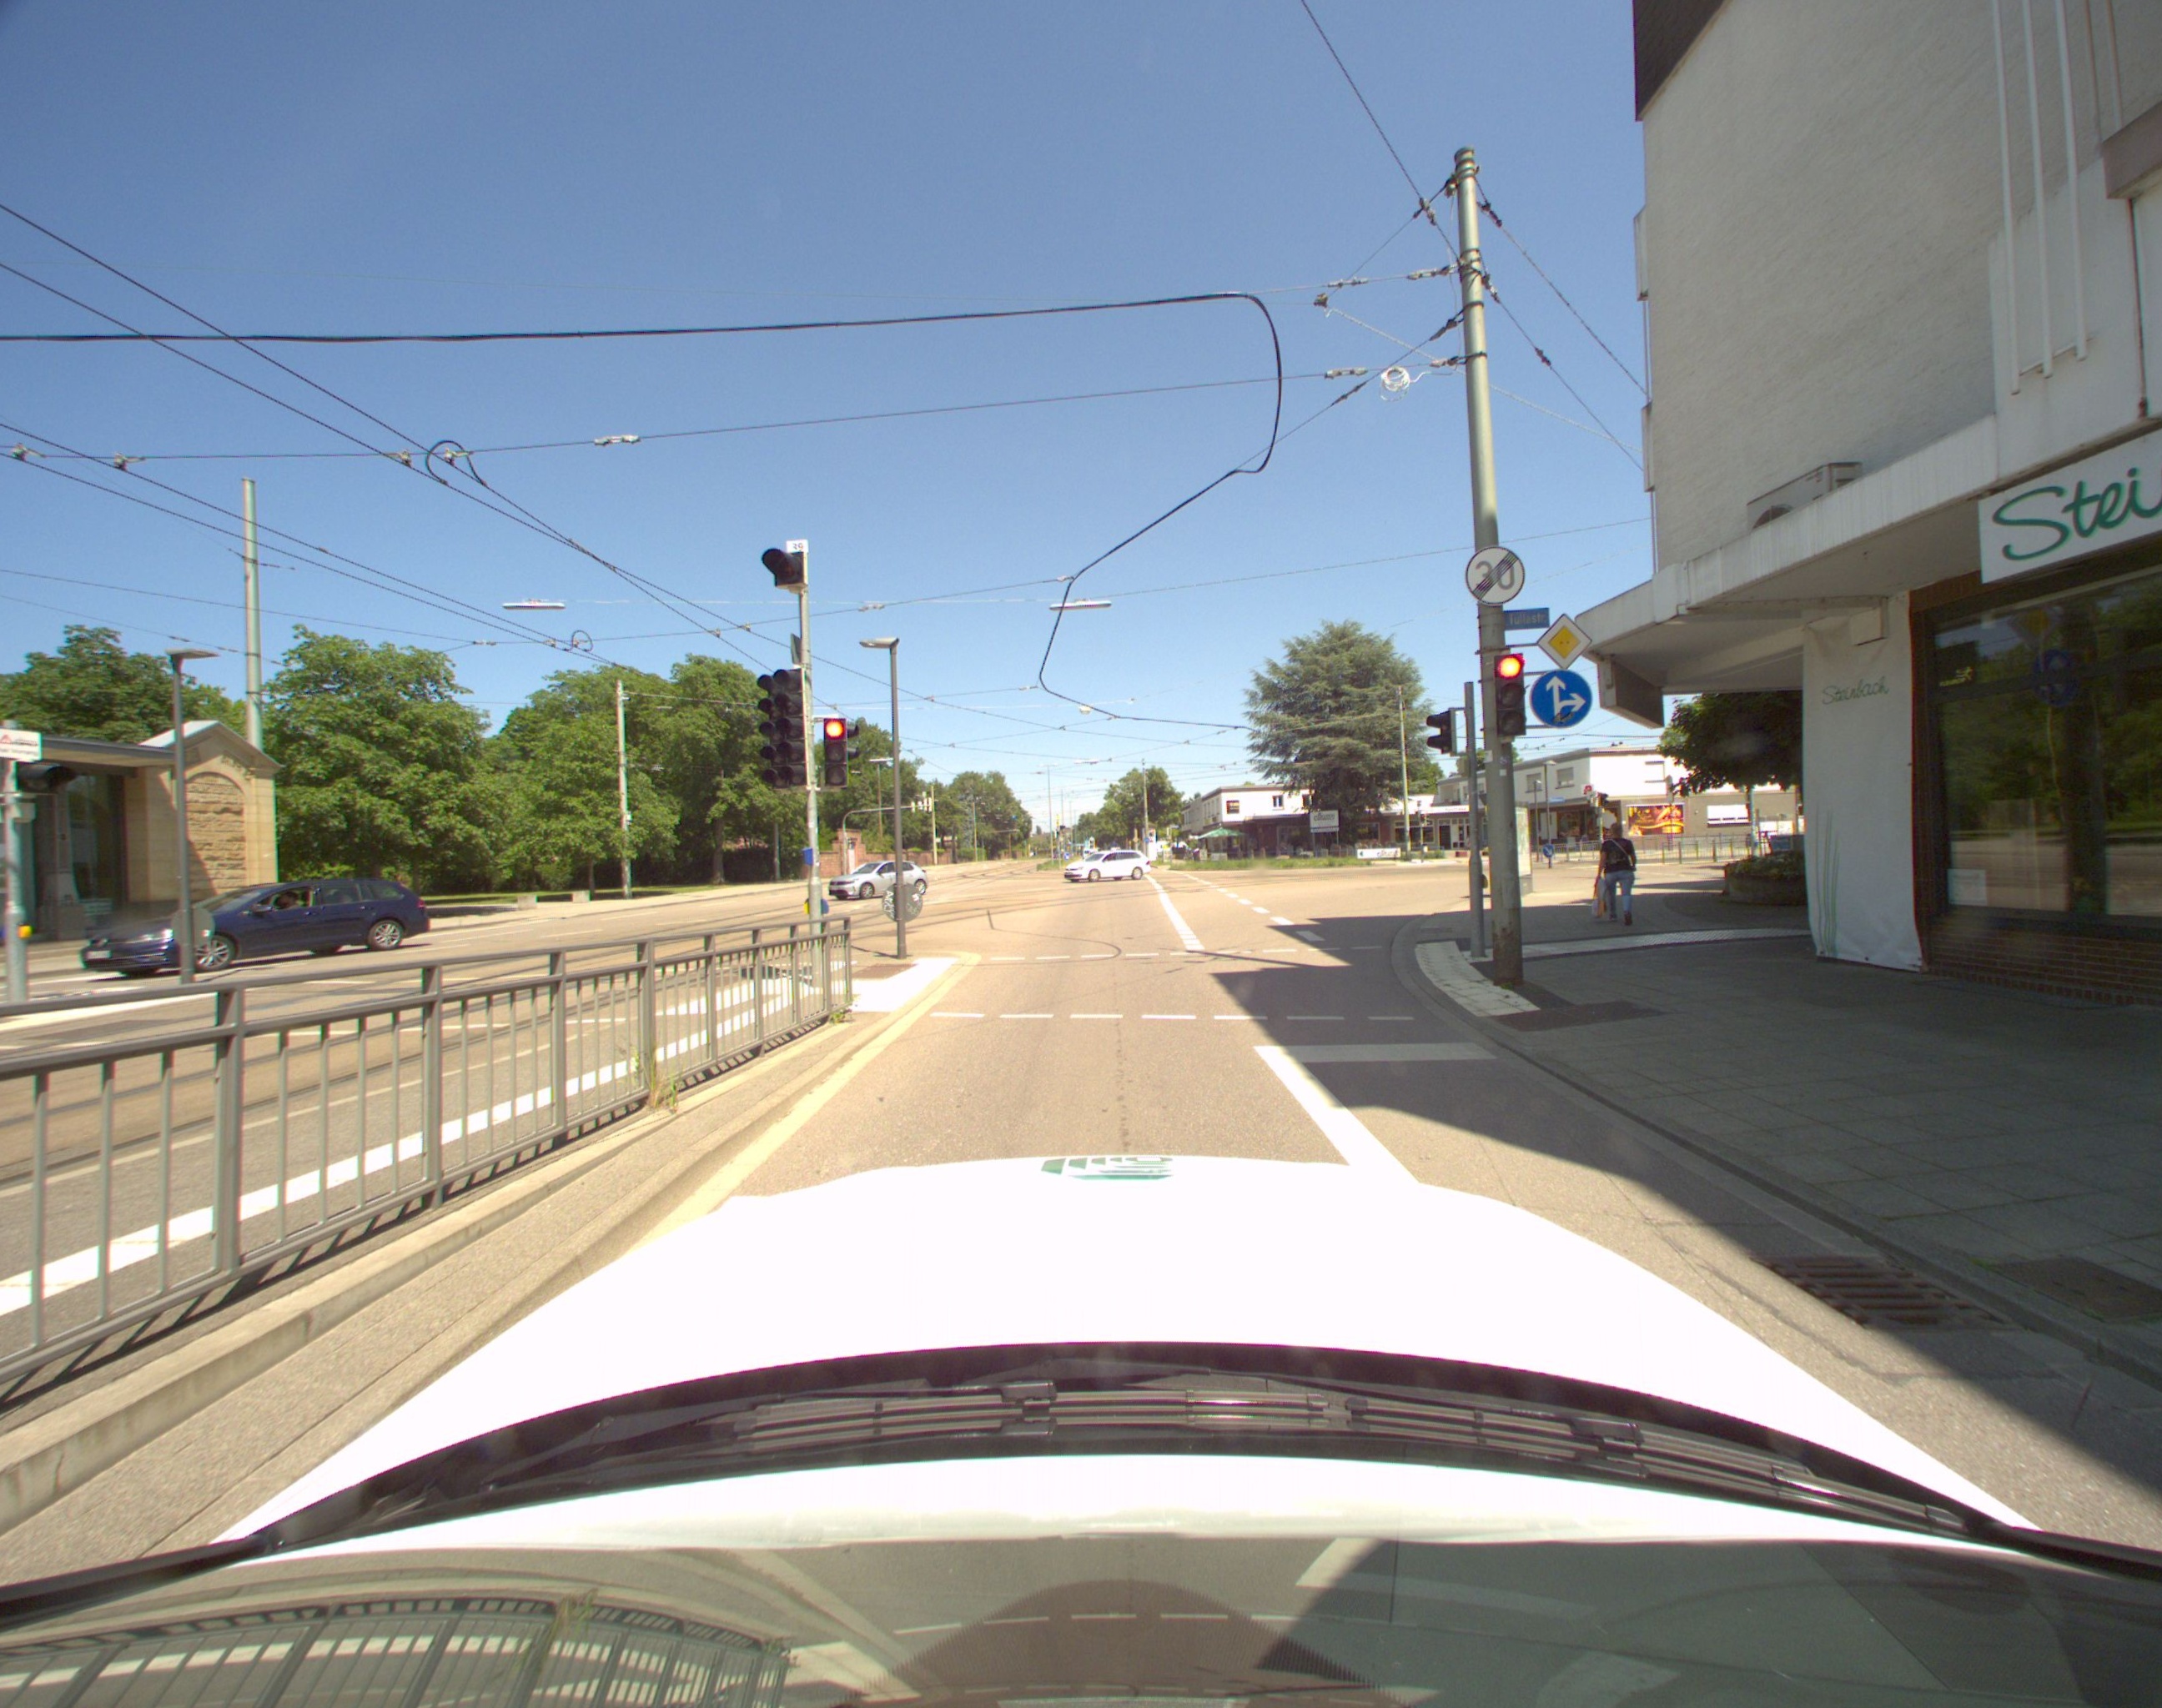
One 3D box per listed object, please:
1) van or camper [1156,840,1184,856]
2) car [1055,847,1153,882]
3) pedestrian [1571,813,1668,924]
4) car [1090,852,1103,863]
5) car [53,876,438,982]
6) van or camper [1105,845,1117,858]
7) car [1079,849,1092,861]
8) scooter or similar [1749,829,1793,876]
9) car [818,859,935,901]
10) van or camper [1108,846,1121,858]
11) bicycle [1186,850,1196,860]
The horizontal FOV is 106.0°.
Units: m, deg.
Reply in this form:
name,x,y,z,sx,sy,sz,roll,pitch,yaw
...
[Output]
name,x,y,z,sx,sy,sz,roll,pitch,yaw
van or camper,15.631,-1.072,143.249,4.742,2.671,2.135,-2,0,-1
car,1.140,0.478,39.314,4.519,1.489,1.803,-2,0,-36
pedestrian,8.255,0.216,12.525,0.822,1.583,0.828,-6,-1,7
car,2.072,0.442,107.349,1.664,1.435,3.476,-1,0,2
car,-14.757,1.233,14.823,1.842,1.442,4.497,-2,0,16
van or camper,5.594,-0.452,152.937,1.988,2.464,3.998,-2,0,-2
car,0.703,0.101,131.899,1.988,1.860,3.998,-2,0,-1
scooter or similar,18.691,-0.048,22.057,1.258,1.212,0.391,-2,0,-26
car,-7.895,0.988,31.765,1.800,1.362,4.077,-3,0,40
van or camper,5.368,-0.330,130.457,1.915,1.772,4.001,-2,0,2
bicycle,11.421,0.095,84.385,1.028,1.014,2.643,-2,0,8
